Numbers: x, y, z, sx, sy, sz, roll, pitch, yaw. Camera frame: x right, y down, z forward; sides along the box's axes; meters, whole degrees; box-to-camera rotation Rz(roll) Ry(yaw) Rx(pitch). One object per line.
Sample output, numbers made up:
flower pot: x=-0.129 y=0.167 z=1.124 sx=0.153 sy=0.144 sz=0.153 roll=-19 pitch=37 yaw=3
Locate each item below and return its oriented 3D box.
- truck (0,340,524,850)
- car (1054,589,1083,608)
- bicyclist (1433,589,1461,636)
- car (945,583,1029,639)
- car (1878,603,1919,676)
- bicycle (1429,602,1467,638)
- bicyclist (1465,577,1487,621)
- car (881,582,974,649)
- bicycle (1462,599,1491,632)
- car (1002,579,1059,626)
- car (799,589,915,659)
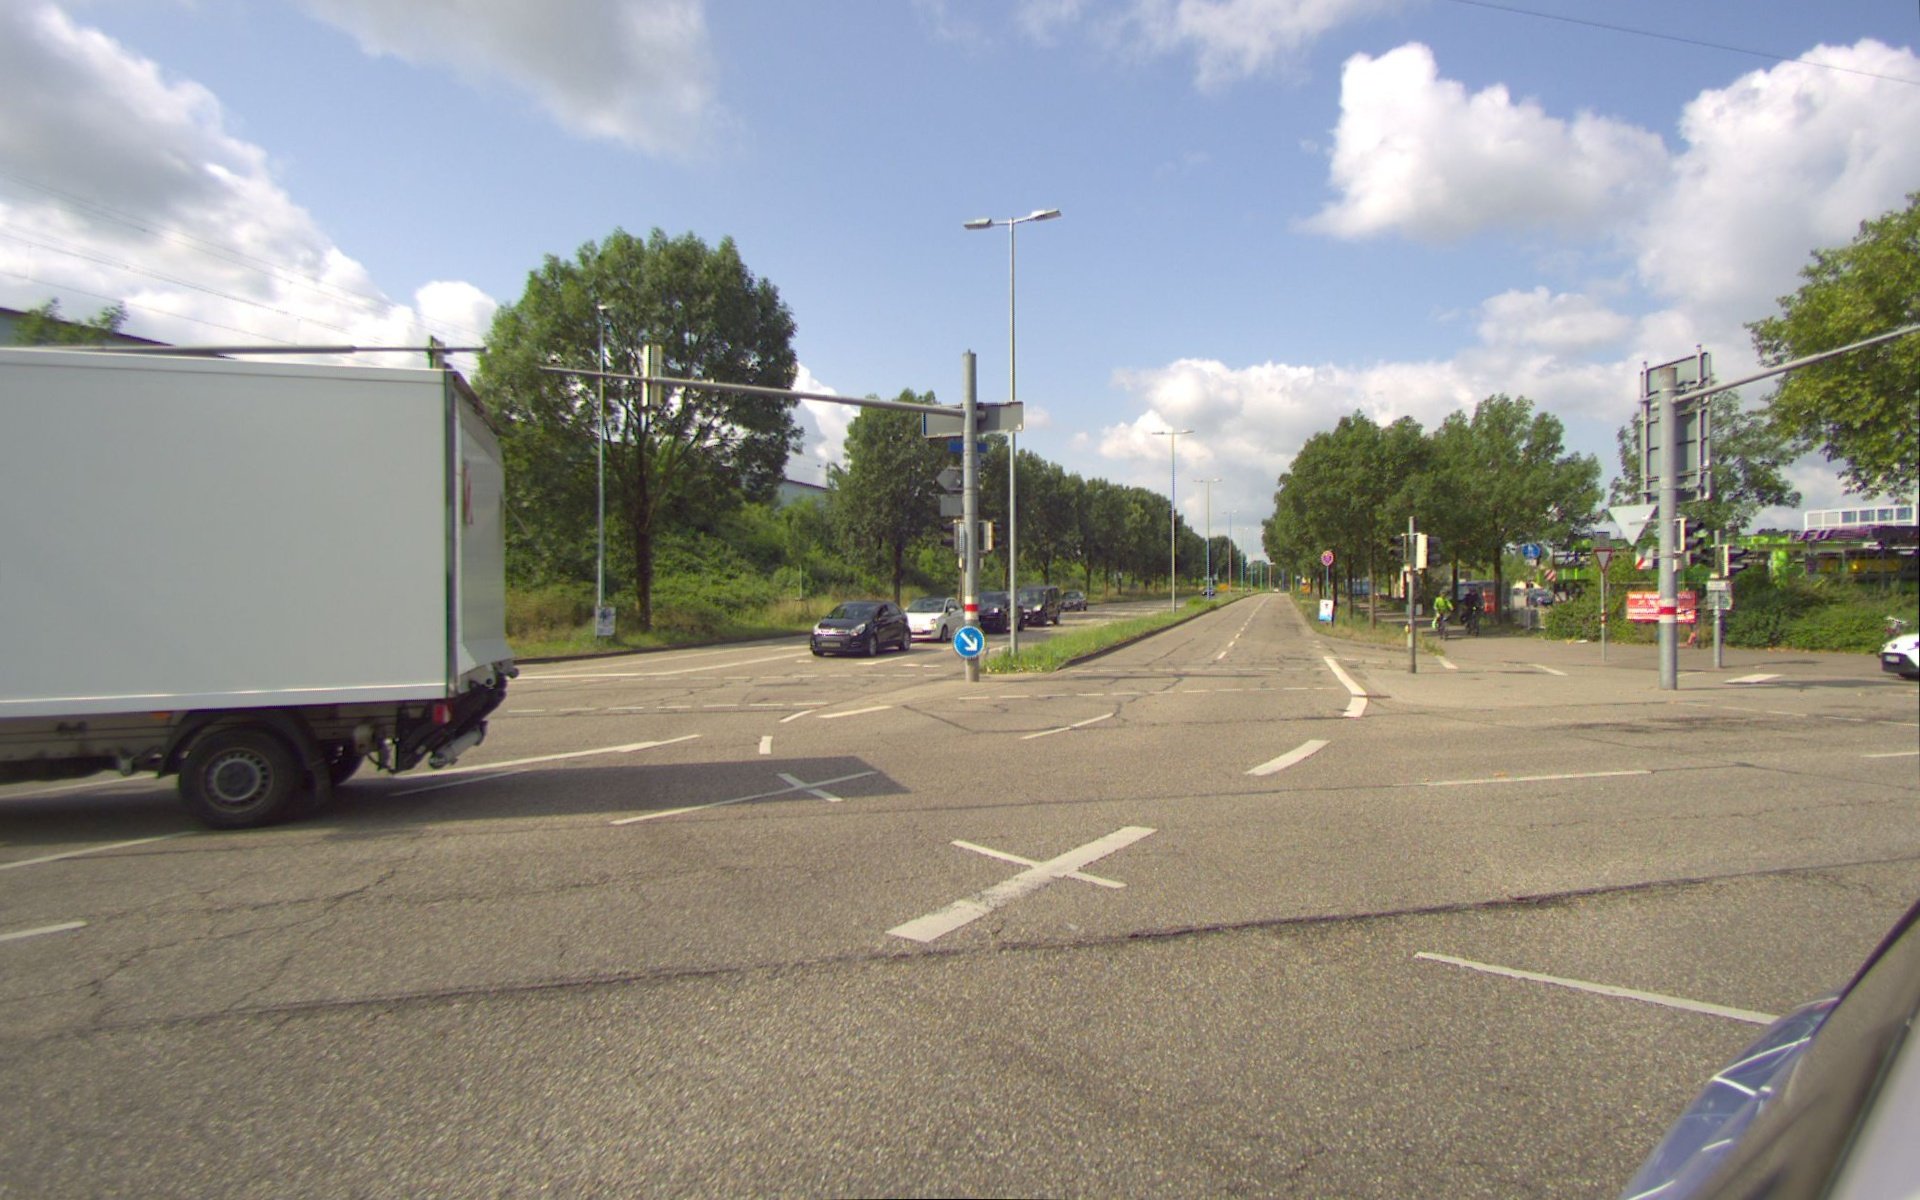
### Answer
truck: x=-6.492 y=-0.021 z=7.383 sx=5.901 sy=3.161 sz=2.459 roll=-1 pitch=-1 yaw=-19
car: x=7.586 y=-0.125 z=70.510 sx=1.523 sy=1.062 sz=3.355 roll=3 pitch=3 yaw=15
bicyclist: x=18.054 y=0.446 z=37.528 sx=0.667 sy=1.700 sz=0.835 roll=-2 pitch=1 yaw=10
car: x=1.136 y=0.363 z=39.869 sx=1.799 sy=1.662 sz=4.774 roll=3 pitch=6 yaw=21
car: x=21.760 y=0.809 z=20.865 sx=3.750 sy=1.498 sz=1.739 roll=0 pitch=-2 yaw=19
bicycle: x=18.082 y=0.711 z=37.565 sx=0.667 sy=1.211 sz=2.226 roll=-2 pitch=1 yaw=11
bicyclist: x=20.250 y=-0.045 z=39.716 sx=0.670 sy=1.707 sz=0.749 roll=-1 pitch=0 yaw=23
car: x=-1.020 y=0.441 z=34.000 sx=1.950 sy=1.769 sz=4.006 roll=3 pitch=5 yaw=17
bicycle: x=20.166 y=0.579 z=39.553 sx=0.783 sy=1.211 sz=2.216 roll=-1 pitch=1 yaw=22
car: x=3.294 y=0.064 z=46.371 sx=1.621 sy=1.653 sz=4.186 roll=3 pitch=6 yaw=18
car: x=-2.729 y=0.588 z=27.639 sx=1.720 sy=1.537 sz=3.806 roll=2 pitch=4 yaw=20
